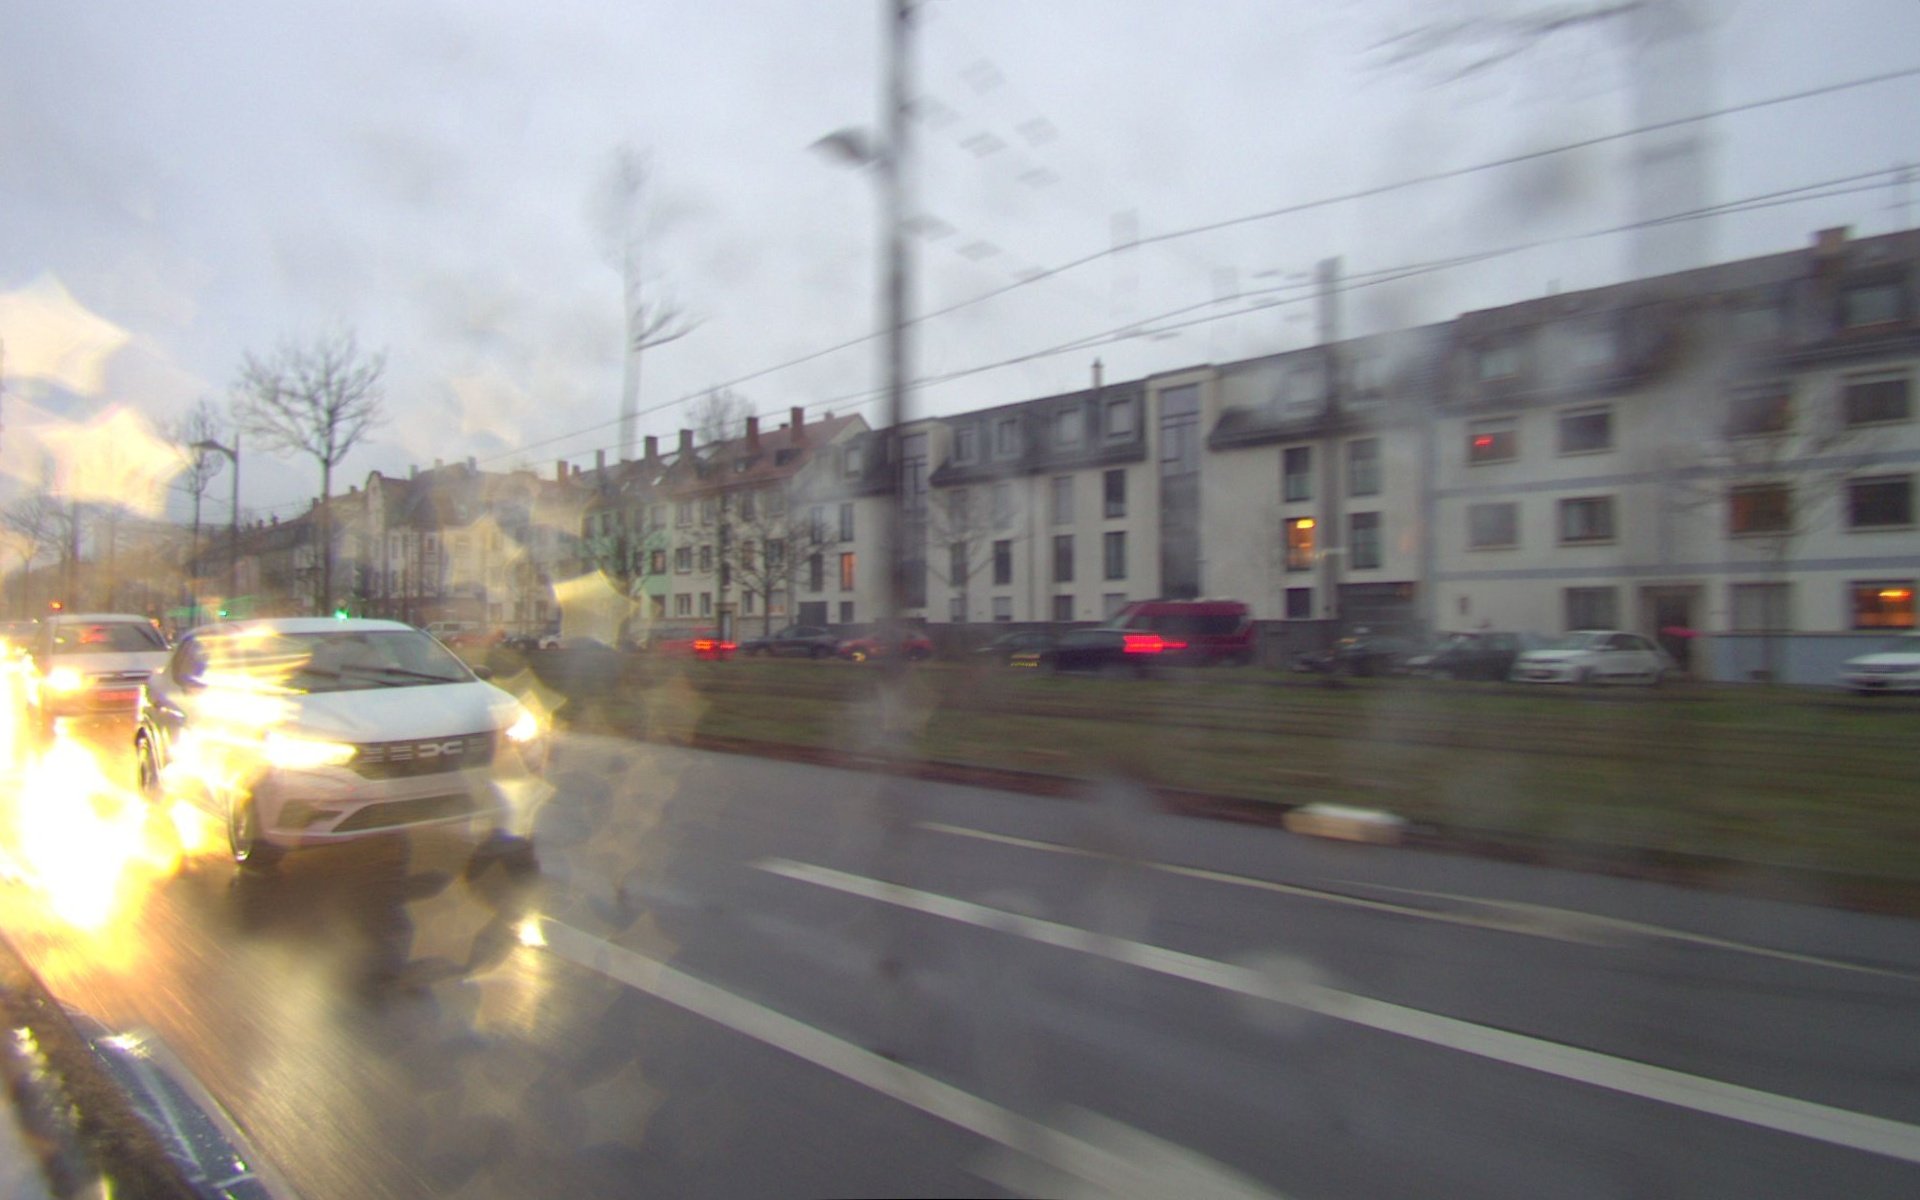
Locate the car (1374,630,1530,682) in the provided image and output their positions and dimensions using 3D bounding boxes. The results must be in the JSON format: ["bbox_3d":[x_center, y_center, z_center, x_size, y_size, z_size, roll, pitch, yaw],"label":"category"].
[{"bbox_3d":[13.511,1.501,27.869,3.480,1.209,1.888,-1,0,-18],"label":"car"}]

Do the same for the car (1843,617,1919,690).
[{"bbox_3d":[21.115,1.069,21.231,4.056,1.389,1.777,-1,0,-12],"label":"car"}]

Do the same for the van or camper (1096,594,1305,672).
[{"bbox_3d":[8.246,1.086,34.730,6.765,2.378,2.006,-1,0,-15],"label":"van or camper"}]

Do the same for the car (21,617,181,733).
[{"bbox_3d":[-13.338,1.063,15.637,1.615,1.531,3.910,-1,0,-44],"label":"car"}]

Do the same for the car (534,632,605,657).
[{"bbox_3d":[-23.022,2.629,59.841,3.778,1.255,1.743,-2,0,-17],"label":"car"}]

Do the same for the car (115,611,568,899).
[{"bbox_3d":[-4.614,0.866,7.298,3.999,1.485,1.671,-2,0,41],"label":"car"}]

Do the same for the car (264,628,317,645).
[{"bbox_3d":[-63.433,3.456,95.946,3.978,1.239,1.352,-3,2,-13],"label":"car"}]

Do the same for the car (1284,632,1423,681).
[{"bbox_3d":[11.600,1.640,29.890,3.480,1.221,1.753,-1,0,-18],"label":"car"}]

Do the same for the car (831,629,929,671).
[{"bbox_3d":[-3.403,2.089,42.773,3.783,1.600,1.747,-1,0,-17],"label":"car"}]

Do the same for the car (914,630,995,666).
[{"bbox_3d":[-0.237,1.896,40.480,3.048,1.312,1.391,-1,0,-8],"label":"car"}]

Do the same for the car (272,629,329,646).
[{"bbox_3d":[-61.170,3.469,93.966,4.039,1.169,1.716,-3,2,-10],"label":"car"}]

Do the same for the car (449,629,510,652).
[{"bbox_3d":[-32.394,2.724,68.354,3.519,1.319,1.692,-2,0,-18],"label":"car"}]

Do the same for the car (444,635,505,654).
[{"bbox_3d":[-33.567,3.049,70.056,3.511,1.149,1.742,-2,0,-17],"label":"car"}]

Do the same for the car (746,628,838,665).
[{"bbox_3d":[-7.786,2.130,46.809,4.093,1.552,1.674,-1,0,-13],"label":"car"}]

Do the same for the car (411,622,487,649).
[{"bbox_3d":[-36.704,2.502,72.752,4.580,1.736,1.838,-2,0,-15],"label":"car"}]

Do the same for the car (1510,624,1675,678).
[{"bbox_3d":[15.890,1.252,25.464,3.360,1.156,1.697,-1,0,-18],"label":"car"}]

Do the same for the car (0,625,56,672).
[{"bbox_3d":[-32.313,1.624,34.529,3.655,1.495,1.880,-2,0,43],"label":"car"}]

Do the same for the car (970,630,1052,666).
[{"bbox_3d":[1.885,1.780,38.167,2.842,1.213,1.391,-1,0,-8],"label":"car"}]

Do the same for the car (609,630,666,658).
[{"bbox_3d":[-17.736,2.401,55.742,2.887,1.346,1.743,-2,0,-17],"label":"car"}]

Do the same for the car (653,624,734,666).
[{"bbox_3d":[-11.187,1.846,42.370,3.507,1.635,1.597,-2,0,41],"label":"car"}]

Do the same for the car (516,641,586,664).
[{"bbox_3d":[-25.001,3.203,61.942,3.757,1.181,1.743,-2,0,-16],"label":"car"}]

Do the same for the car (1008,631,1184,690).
[{"bbox_3d":[3.876,1.681,29.301,4.786,1.514,1.861,-2,0,40],"label":"car"}]

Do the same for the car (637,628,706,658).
[{"bbox_3d":[-15.181,2.268,53.354,3.330,1.432,1.674,-1,0,-10],"label":"car"}]
